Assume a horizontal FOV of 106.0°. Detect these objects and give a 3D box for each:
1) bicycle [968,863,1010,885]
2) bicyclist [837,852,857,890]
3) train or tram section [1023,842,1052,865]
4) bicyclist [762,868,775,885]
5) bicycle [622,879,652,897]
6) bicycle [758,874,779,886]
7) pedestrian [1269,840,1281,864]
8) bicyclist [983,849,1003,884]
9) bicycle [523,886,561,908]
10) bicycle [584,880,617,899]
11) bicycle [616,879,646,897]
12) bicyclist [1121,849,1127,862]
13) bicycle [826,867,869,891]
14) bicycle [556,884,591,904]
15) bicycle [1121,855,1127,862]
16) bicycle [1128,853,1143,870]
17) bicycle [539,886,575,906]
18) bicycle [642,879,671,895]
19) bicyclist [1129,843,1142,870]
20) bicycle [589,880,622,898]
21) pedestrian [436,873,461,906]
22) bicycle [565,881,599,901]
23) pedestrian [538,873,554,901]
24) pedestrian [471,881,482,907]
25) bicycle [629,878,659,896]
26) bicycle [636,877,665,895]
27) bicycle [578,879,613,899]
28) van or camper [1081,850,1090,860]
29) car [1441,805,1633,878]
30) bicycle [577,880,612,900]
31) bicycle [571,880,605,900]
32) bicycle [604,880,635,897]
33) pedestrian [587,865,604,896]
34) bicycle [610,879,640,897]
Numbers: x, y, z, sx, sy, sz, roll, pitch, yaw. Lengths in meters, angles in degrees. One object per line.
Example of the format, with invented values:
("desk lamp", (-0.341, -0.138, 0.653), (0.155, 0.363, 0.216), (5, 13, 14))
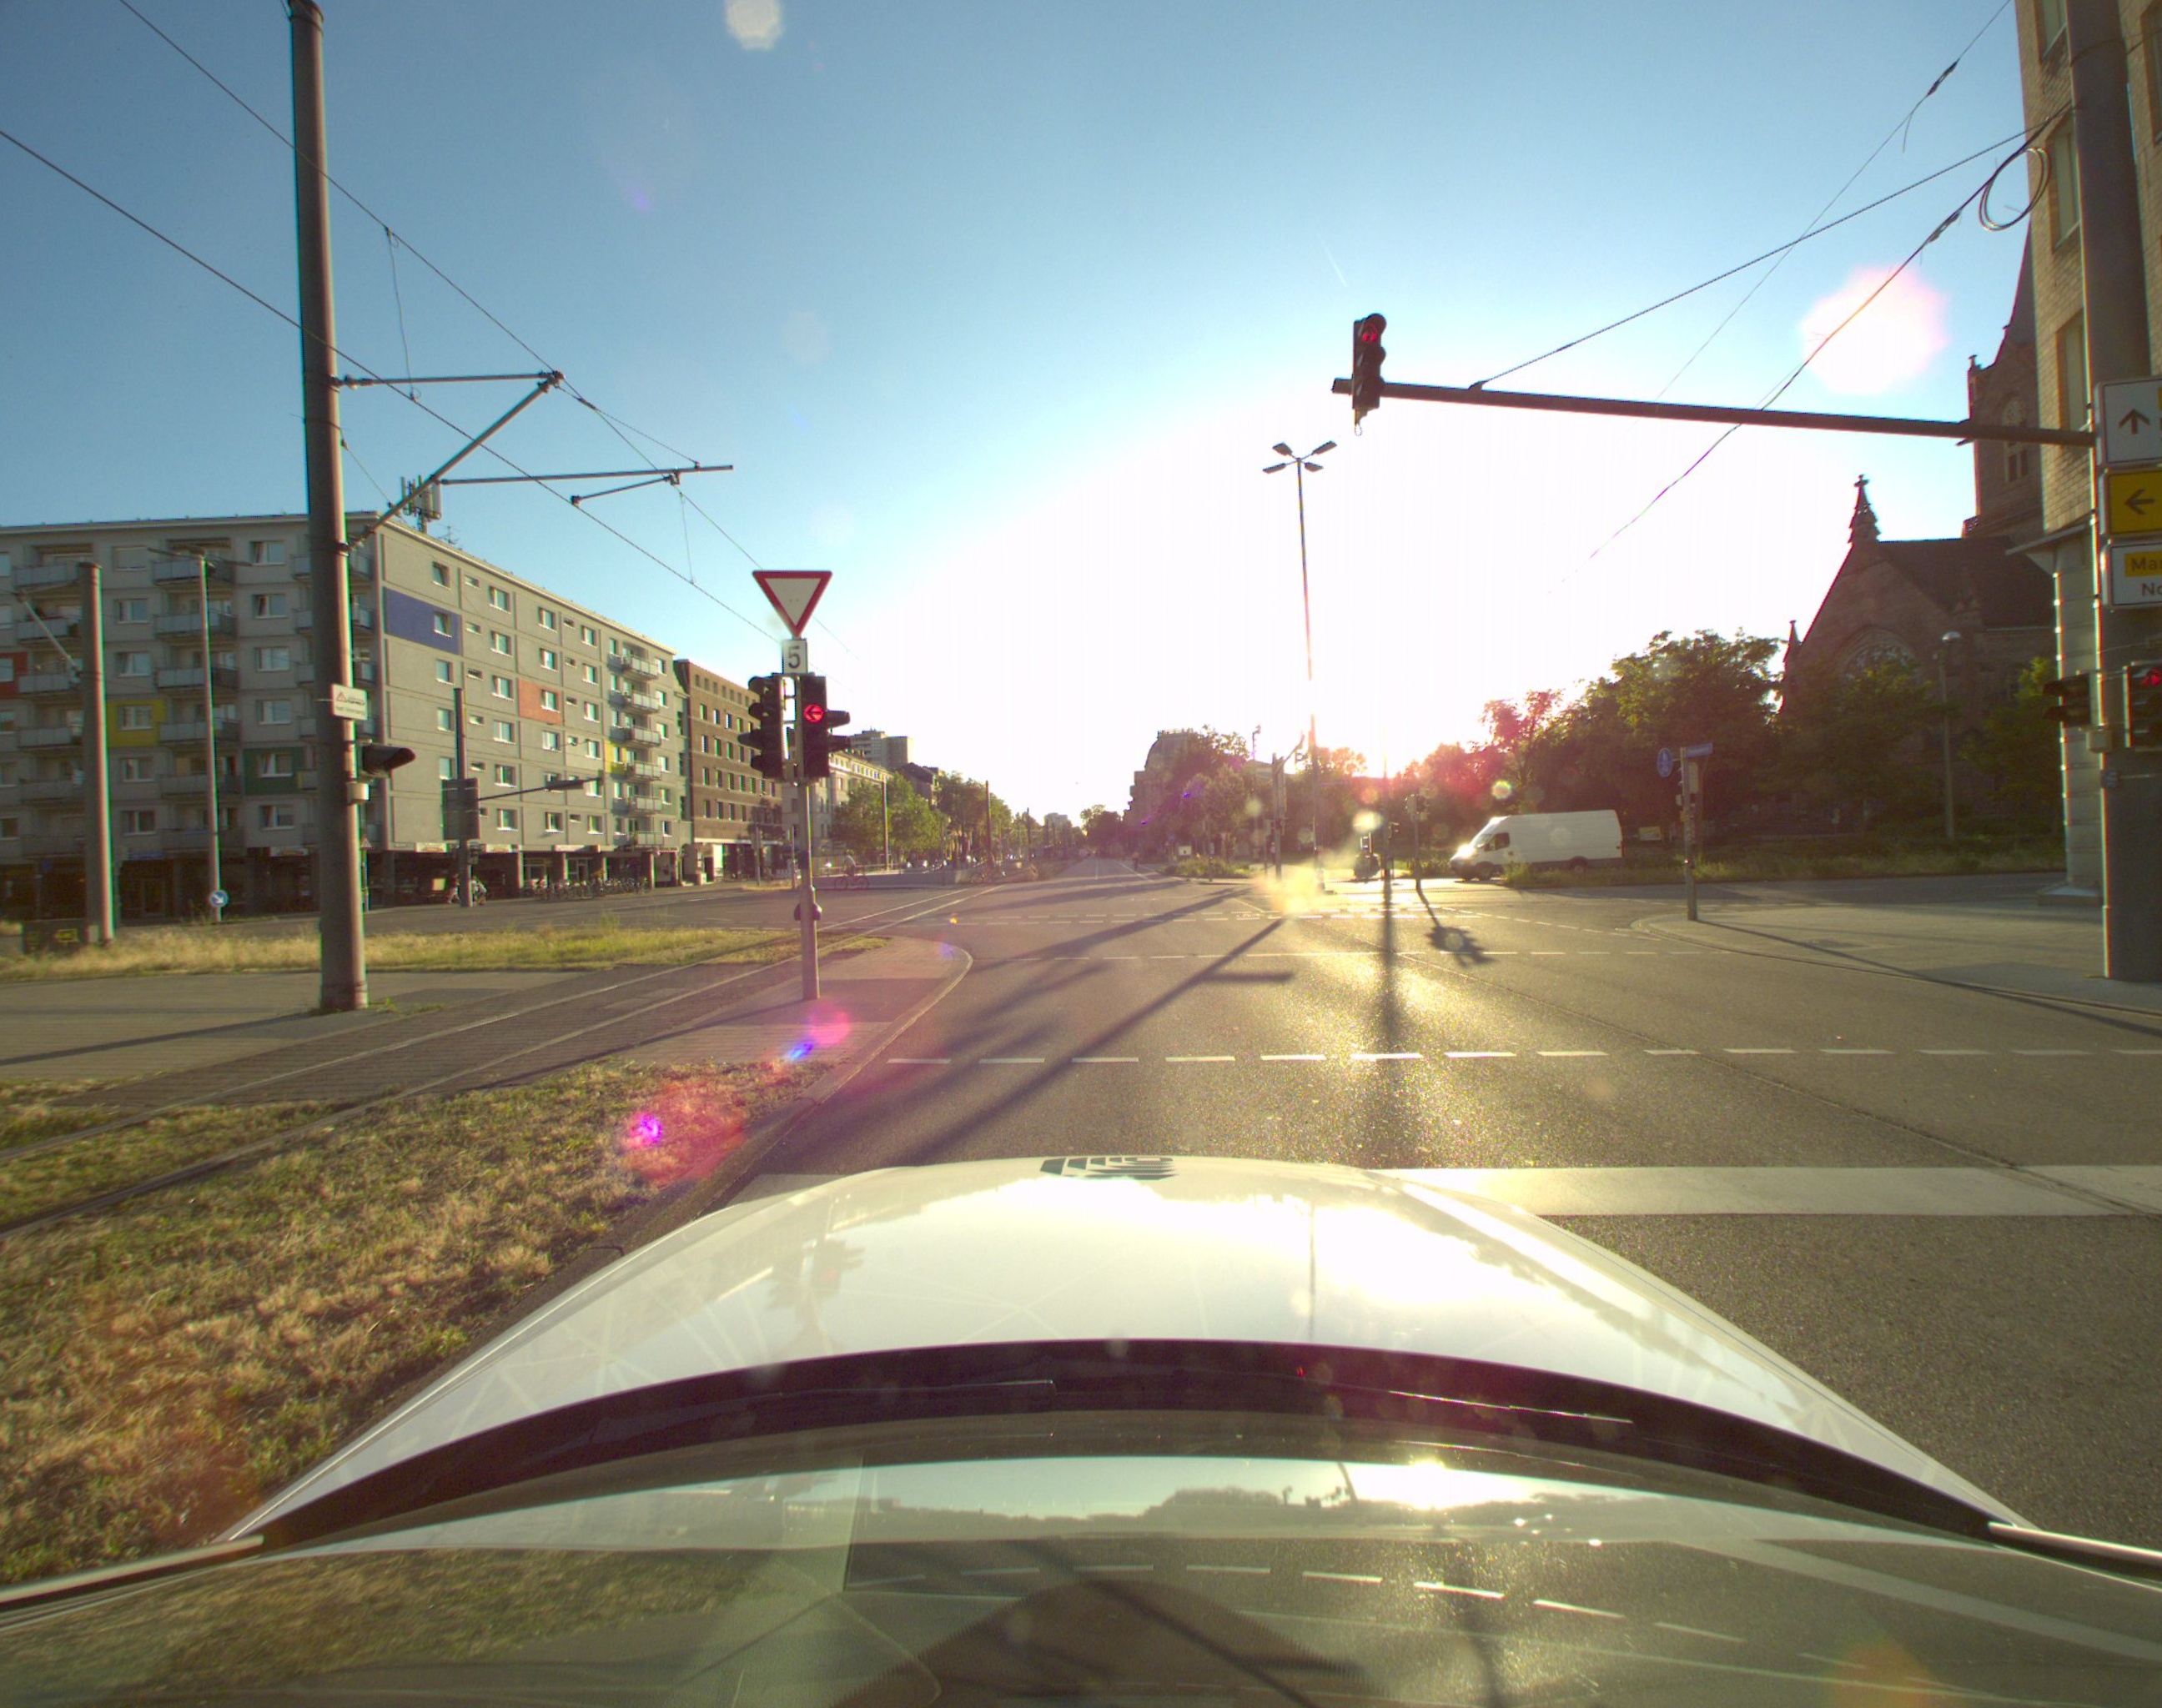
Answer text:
("bicycle", (-4.876, 1.057, 43.235), (2.152, 1.083, 0.540), (-2, -1, 6))
("bicyclist", (-11.456, 0.830, 39.883), (0.793, 1.818, 0.644), (-2, 0, -9))
("train or tram section", (-8.117, -0.204, 152.974), (4.370, 3.849, 11.415), (-2, 2, 1))
("bicyclist", (-26.276, 1.904, 68.453), (0.494, 1.426, 0.863), (-2, 0, 29))
("bicycle", (-30.980, 2.374, 56.887), (1.683, 1.153, 0.706), (-2, 0, 3))
("bicycle", (-26.277, 2.177, 68.429), (0.503, 0.944, 1.678), (-2, 0, 27))
("pedestrian", (15.196, -0.158, 63.852), (0.826, 1.803, 0.814), (-2, 0, 17))
("bicyclist", (-4.667, 0.670, 43.210), (0.871, 1.818, 0.539), (-2, 0, 7))
("bicycle", (-32.284, 2.557, 48.804), (1.788, 1.208, 0.638), (-2, 0, 0))
("bicycle", (-31.701, 2.317, 53.772), (1.769, 1.159, 0.606), (-2, 0, 1))
("bicycle", (-31.039, 2.344, 56.196), (1.719, 1.124, 0.634), (-2, -1, 3))
("bicyclist", (7.055, 0.209, 133.103), (0.922, 2.013, 0.851), (-2, 0, 1))
("bicycle", (-11.417, 1.198, 39.899), (1.901, 1.075, 0.630), (-2, 0, -10))
("bicycle", (-31.459, 2.499, 50.485), (1.750, 1.139, 0.600), (-2, 0, 2))
("bicycle", (7.062, 0.672, 132.975), (0.921, 1.111, 2.334), (-2, 0, 2))
("bicycle", (4.725, 0.664, 70.636), (1.094, 1.399, 2.833), (-2, 0, 2))
("bicycle", (-32.069, 2.590, 49.869), (1.770, 1.142, 0.608), (-2, 0, 1))
("bicycle", (-30.805, 2.393, 59.146), (1.683, 1.144, 0.697), (-2, 0, 3))
("bicyclist", (4.714, 0.235, 70.634), (1.078, 2.276, 0.986), (-2, 0, 1))
("bicycle", (-31.770, 2.321, 54.426), (1.764, 1.136, 0.606), (-2, 0, 2))
("pedestrian", (-36.216, 2.014, 46.630), (0.826, 1.813, 0.718), (-1, -1, -9))
("bicycle", (-31.280, 2.291, 51.057), (1.759, 1.167, 0.540), (-2, 0, 2))
("pedestrian", (-33.207, 2.044, 50.561), (0.577, 1.684, 0.546), (-2, 0, -1))
("pedestrian", (-32.869, 2.180, 44.269), (0.383, 1.383, 0.392), (-2, 0, -26))
("bicycle", (-30.934, 2.355, 57.641), (1.683, 1.179, 0.749), (-2, 0, 3))
("bicycle", (-30.858, 2.309, 58.416), (1.683, 1.170, 0.749), (-2, 0, 3))
("bicycle", (-31.650, 2.283, 53.104), (1.824, 1.160, 0.640), (-2, 0, 1))
("van or camper", (1.190, 0.257, 215.592), (2.441, 2.770, 5.600), (-2, 0, 0))
("car", (19.589, -0.532, 35.233), (6.981, 2.827, 2.095), (-2, 0, 3))
("bicycle", (-31.239, 2.299, 52.304), (1.782, 1.191, 0.652), (-2, 0, 1))
("bicycle", (-31.251, 2.287, 51.657), (1.762, 1.182, 0.568), (-2, 0, 1))
("bicycle", (-31.135, 2.324, 54.977), (1.748, 1.117, 0.552), (-2, 0, 2))
("pedestrian", (-34.530, 1.892, 57.945), (0.599, 2.178, 0.792), (-2, 0, 1))
("bicycle", (-31.101, 2.335, 55.563), (1.754, 1.119, 0.568), (-2, 0, 2))
